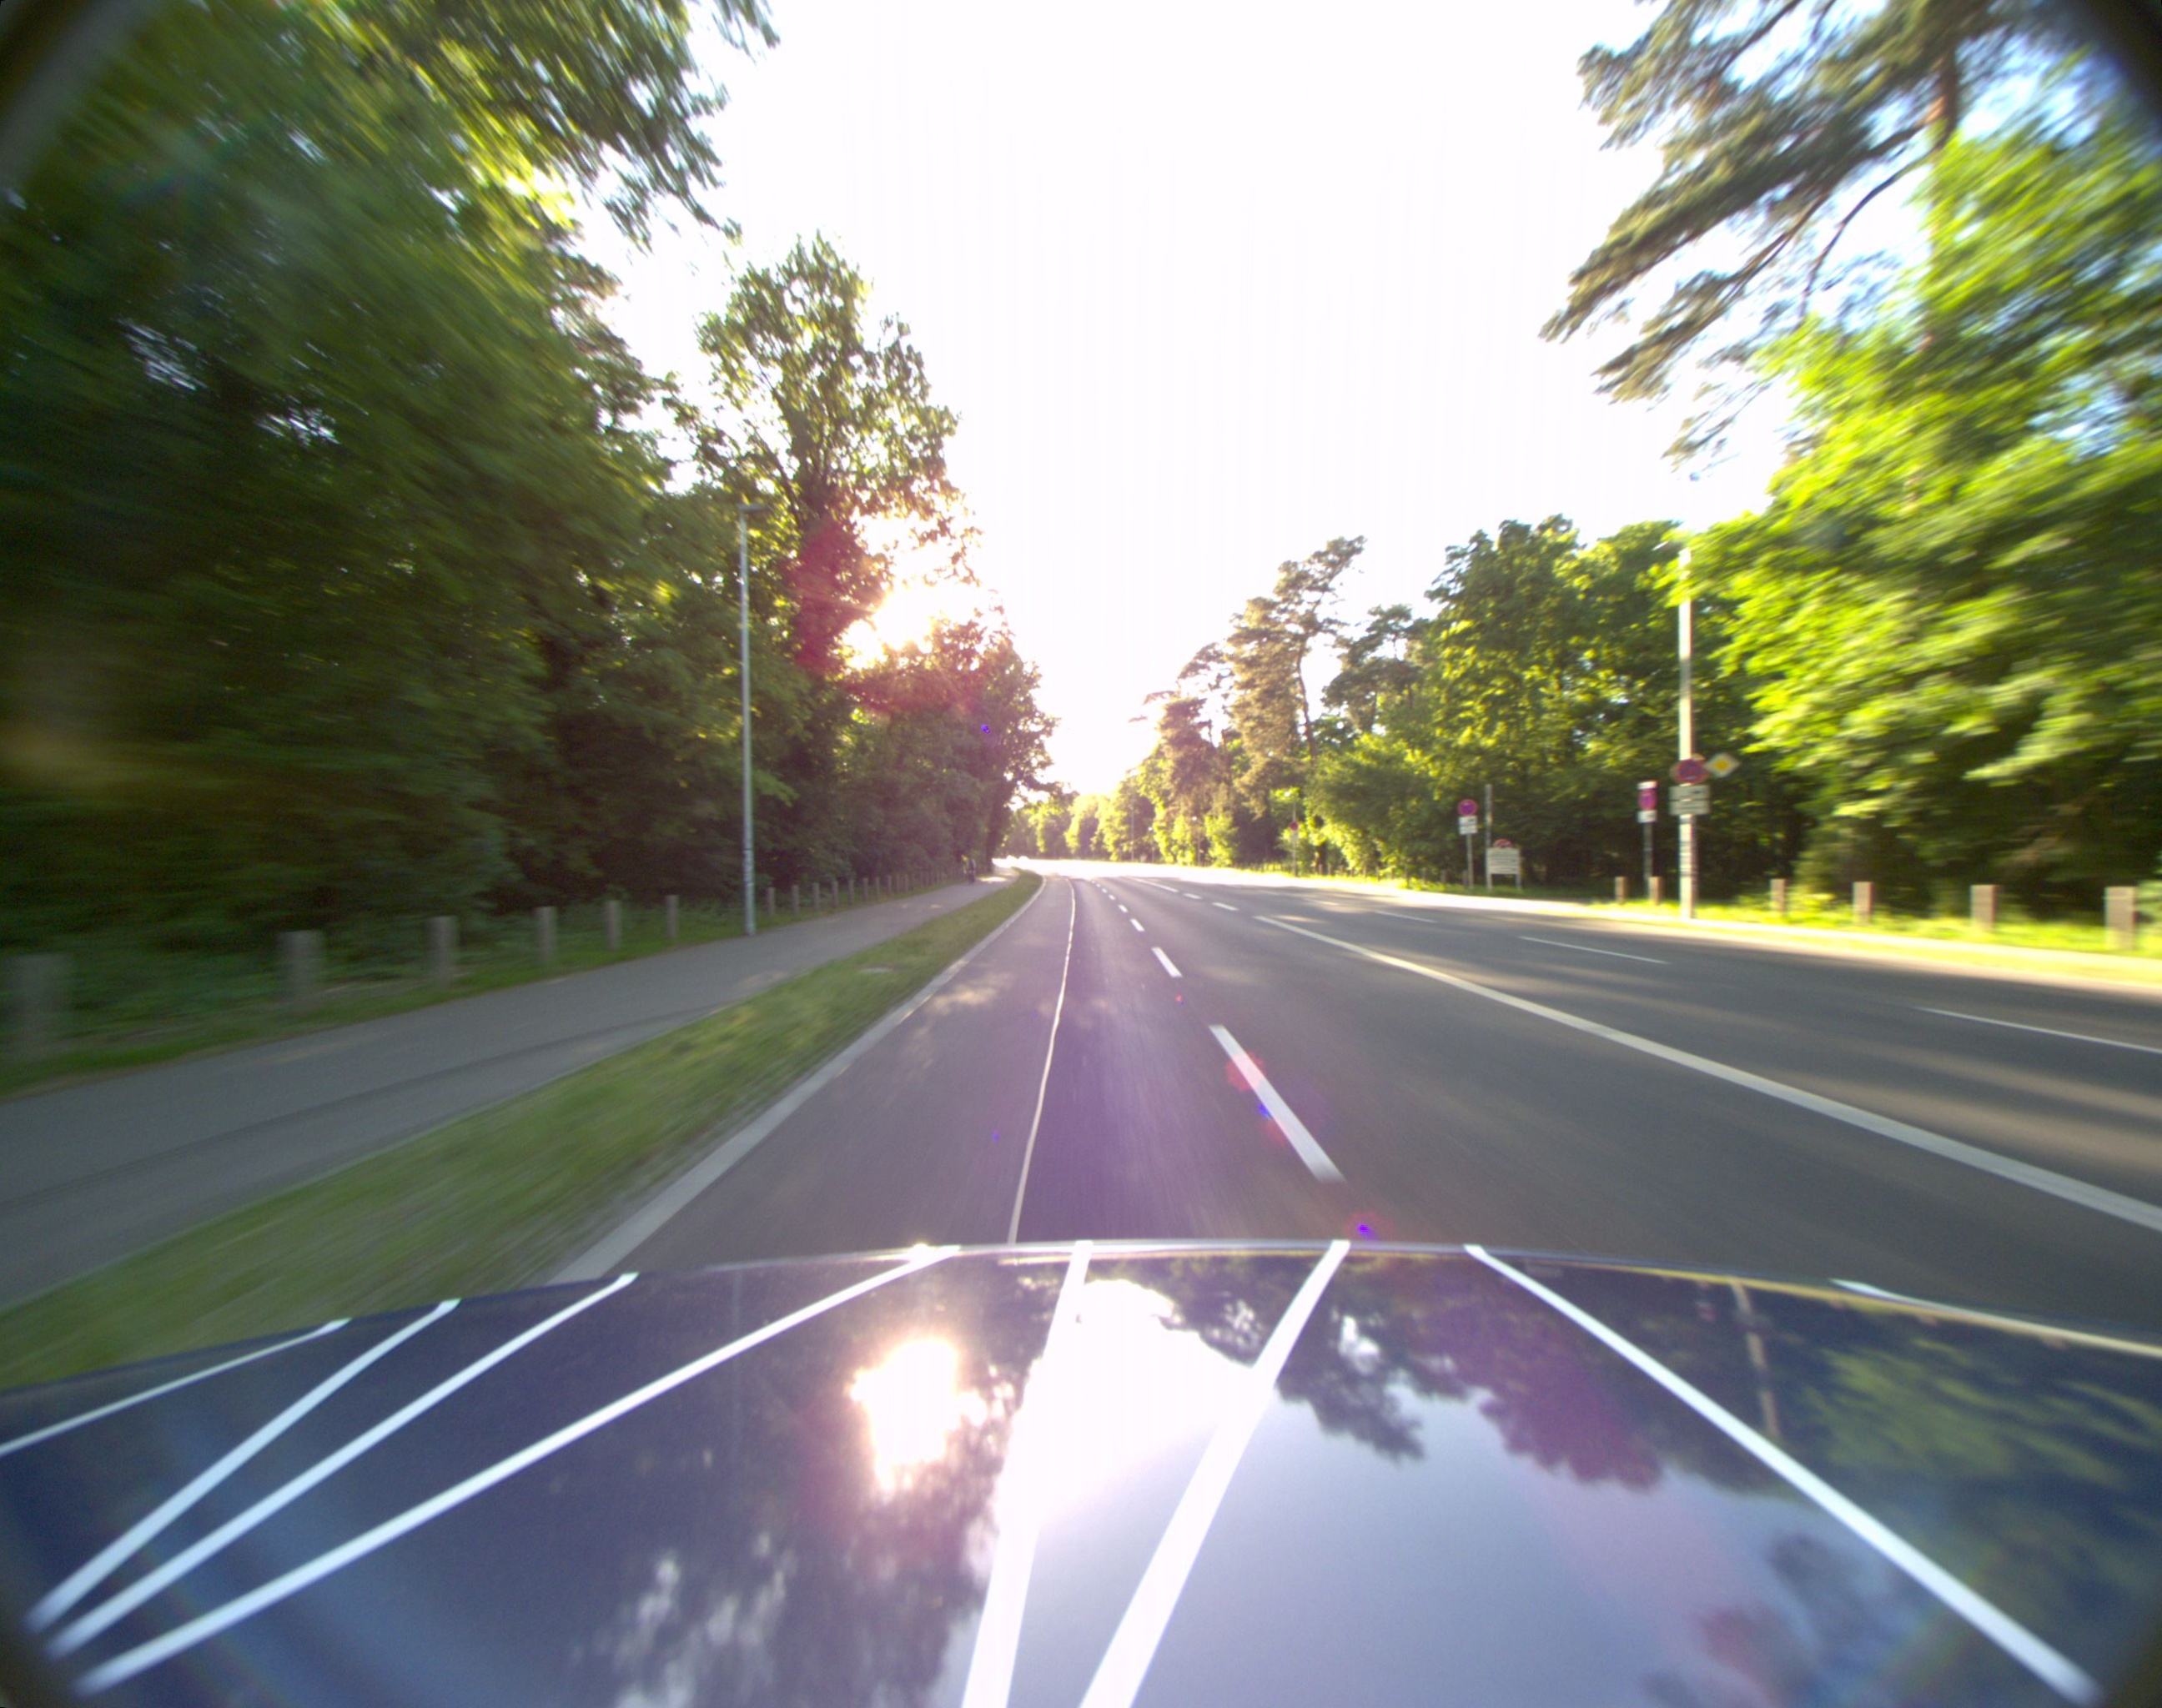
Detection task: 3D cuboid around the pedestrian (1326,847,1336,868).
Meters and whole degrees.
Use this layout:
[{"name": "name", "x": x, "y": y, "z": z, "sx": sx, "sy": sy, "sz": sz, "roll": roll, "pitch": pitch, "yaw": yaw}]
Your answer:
[{"name": "pedestrian", "x": 15.851, "y": 0.201, "z": 48.187, "sx": 0.471, "sy": 1.307, "sz": 0.512, "roll": -1, "pitch": 1, "yaw": 0}]

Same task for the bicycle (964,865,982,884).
[{"name": "bicycle", "x": -6.434, "y": 1.182, "z": 45.309, "sx": 0.608, "sy": 1.051, "sz": 2.874, "roll": -1, "pitch": 0, "yaw": 0}]

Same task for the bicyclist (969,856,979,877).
[{"name": "bicyclist", "x": -6.383, "y": 0.733, "z": 45.301, "sx": 0.514, "sy": 1.260, "sz": 0.497, "roll": -1, "pitch": 1, "yaw": 0}]
